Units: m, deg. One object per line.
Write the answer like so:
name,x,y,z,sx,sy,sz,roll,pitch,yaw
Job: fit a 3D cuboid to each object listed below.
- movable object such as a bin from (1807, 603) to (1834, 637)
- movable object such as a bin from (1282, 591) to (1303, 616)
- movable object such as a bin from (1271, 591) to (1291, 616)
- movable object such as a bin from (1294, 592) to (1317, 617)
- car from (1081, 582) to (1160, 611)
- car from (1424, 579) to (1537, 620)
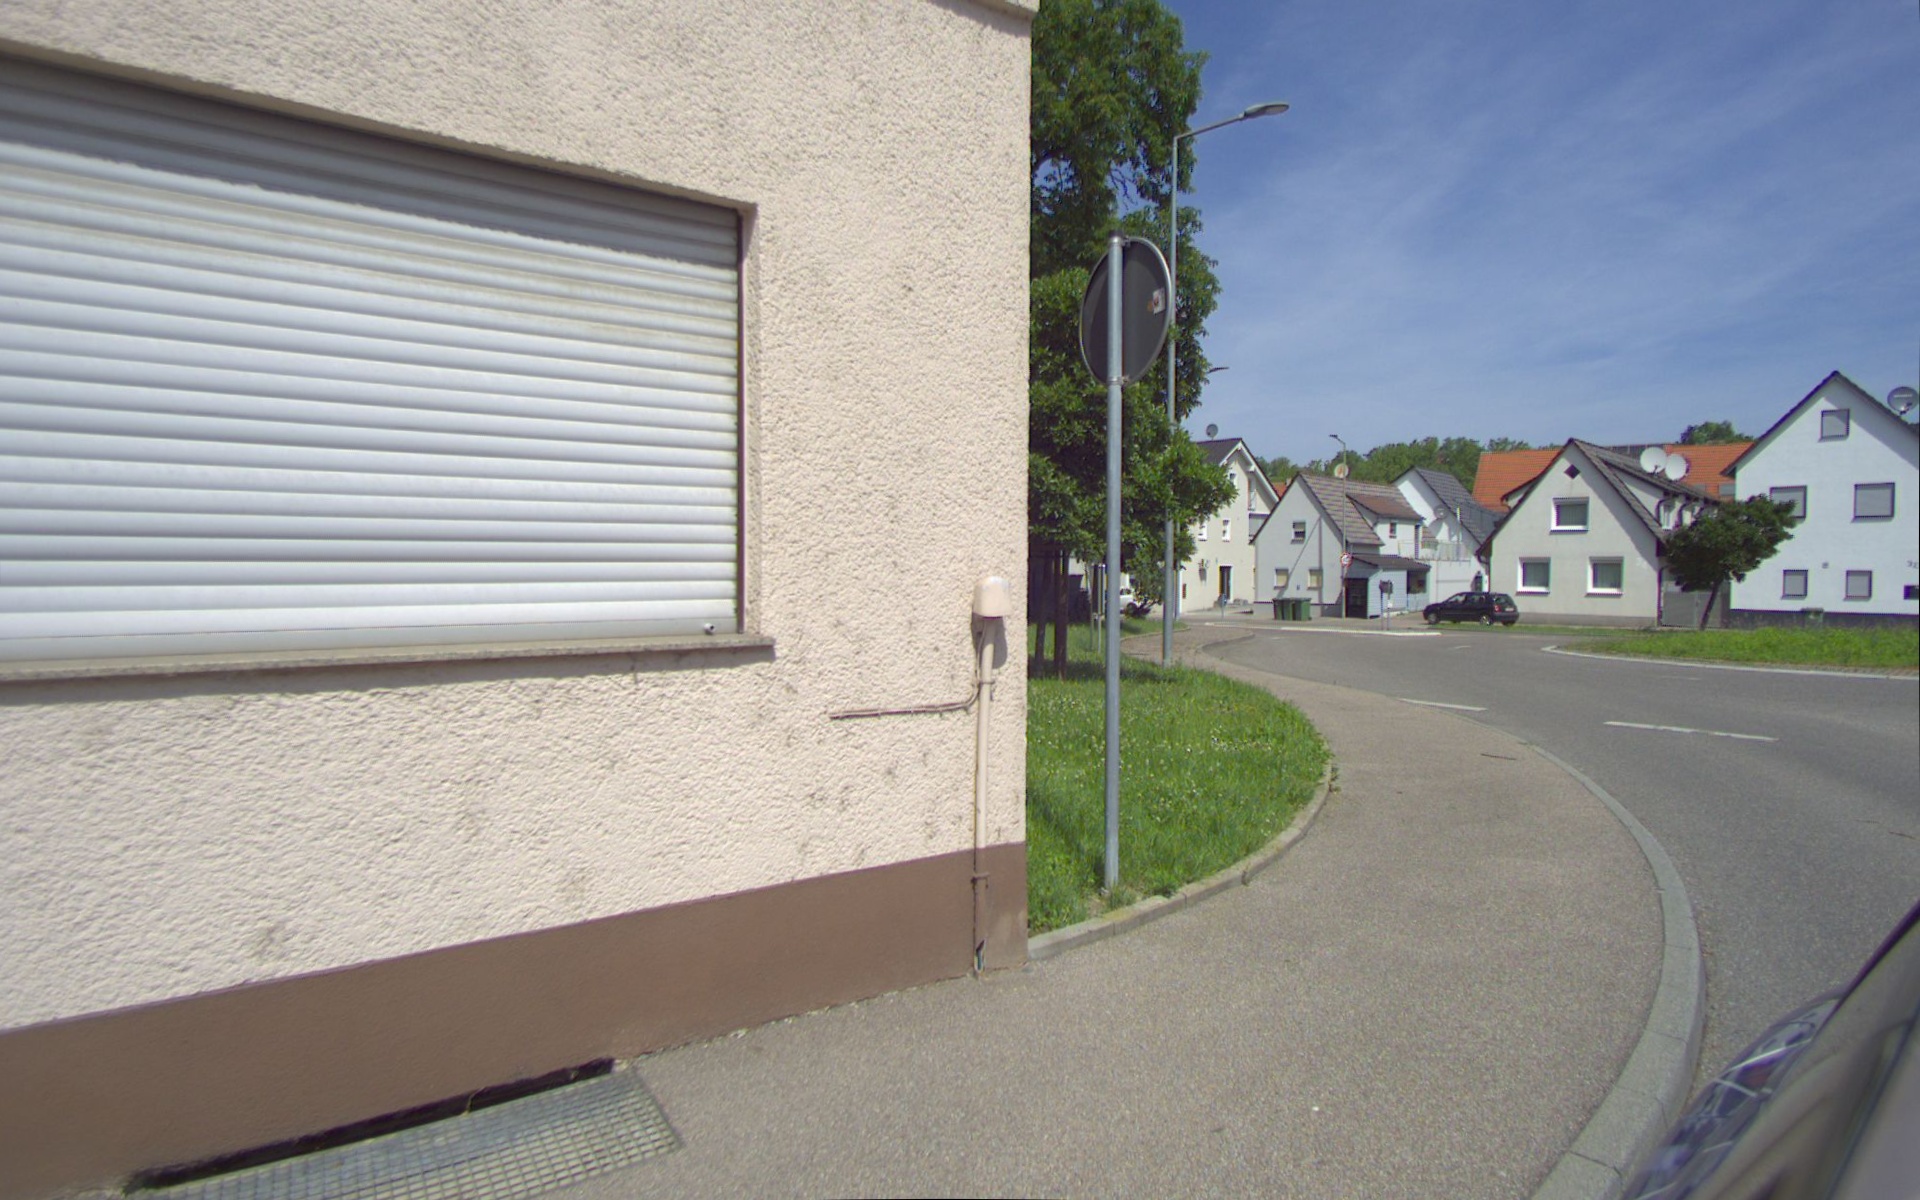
movable object such as a bin,27.443,0.631,32.276,0.576,1.062,0.892,1,0,36
movable object such as a bin,15.557,0.155,47.363,0.719,1.090,0.633,-3,2,-34
movable object such as a bin,15.190,0.165,47.939,0.631,1.106,0.632,-3,2,-34
movable object such as a bin,15.961,0.215,46.755,0.670,1.090,0.726,-3,2,-34
car,8.882,-0.231,56.241,3.983,1.521,1.800,1,3,41
car,21.511,-0.057,41.922,1.743,1.458,3.852,-3,4,-29
